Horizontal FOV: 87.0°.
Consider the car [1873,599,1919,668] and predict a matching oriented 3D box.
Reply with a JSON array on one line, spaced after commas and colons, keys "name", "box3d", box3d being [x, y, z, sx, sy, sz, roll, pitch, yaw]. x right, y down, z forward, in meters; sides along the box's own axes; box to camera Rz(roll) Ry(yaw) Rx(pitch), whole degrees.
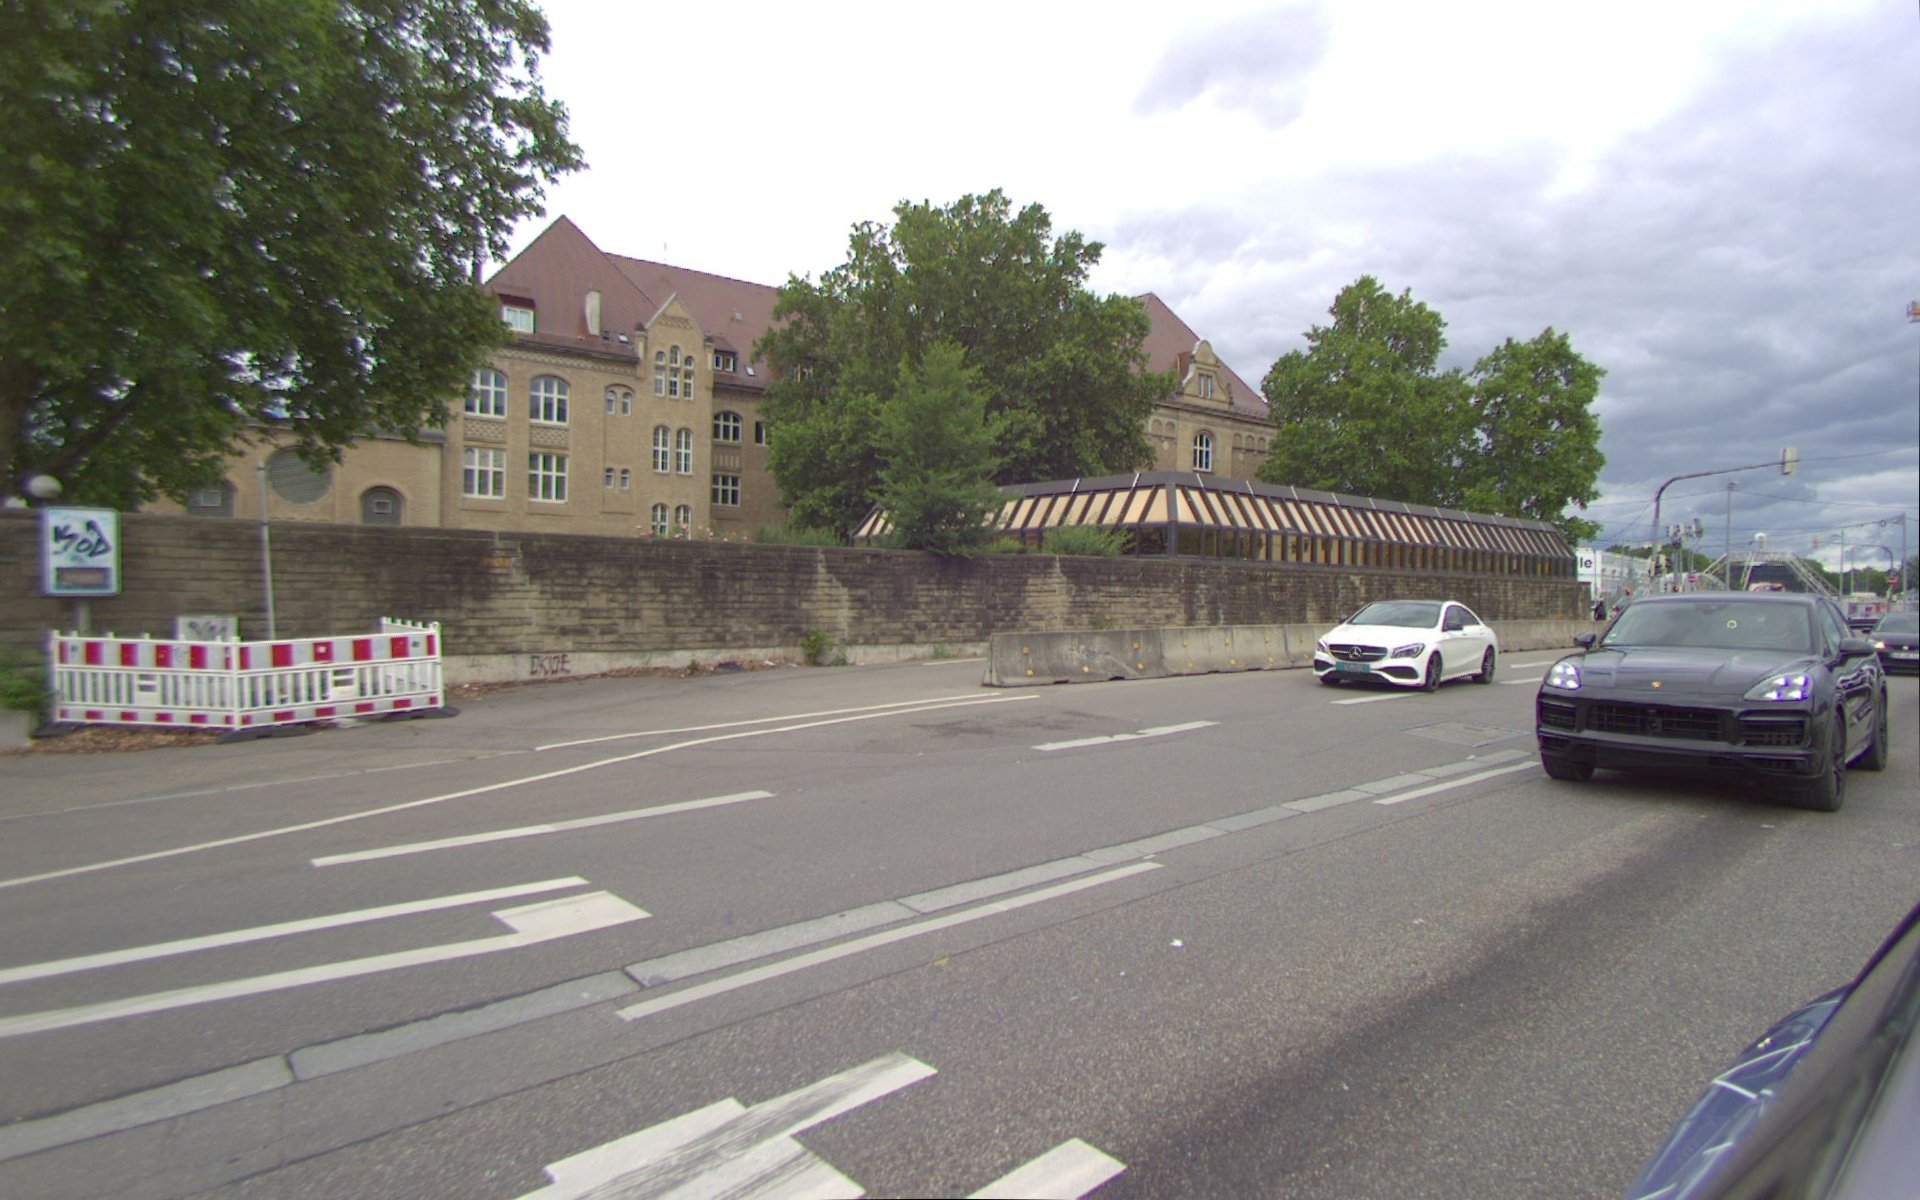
[{"name": "car", "box3d": [22.895, 0.766, 23.874, 4.346, 1.488, 1.730, 0, 2, -45]}]

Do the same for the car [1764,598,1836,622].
[{"name": "car", "box3d": [63.774, 0.761, 76.876, 1.664, 1.593, 4.062, 2, 0, -44]}]

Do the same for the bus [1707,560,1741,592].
[{"name": "bus", "box3d": [84.233, -2.617, 111.704, 2.797, 3.209, 9.277, 2, 0, 36]}]

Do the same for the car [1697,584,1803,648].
[{"name": "car", "box3d": [26.573, 0.515, 34.037, 3.606, 1.961, 1.938, 1, 2, -38]}]

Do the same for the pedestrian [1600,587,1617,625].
[{"name": "pedestrian", "box3d": [35.025, 0.331, 54.684, 0.616, 2.039, 0.844, 0, 0, 23]}]

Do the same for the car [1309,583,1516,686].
[{"name": "car", "box3d": [7.616, 0.472, 16.824, 1.735, 1.453, 4.311, 2, 2, 45]}]

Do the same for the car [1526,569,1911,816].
[{"name": "car", "box3d": [6.969, 0.627, 9.097, 4.529, 1.668, 1.953, 0, 0, -42]}]

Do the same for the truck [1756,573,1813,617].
[{"name": "truck", "box3d": [74.350, -0.465, 91.408, 2.889, 3.721, 8.923, 1, 1, 32]}]
